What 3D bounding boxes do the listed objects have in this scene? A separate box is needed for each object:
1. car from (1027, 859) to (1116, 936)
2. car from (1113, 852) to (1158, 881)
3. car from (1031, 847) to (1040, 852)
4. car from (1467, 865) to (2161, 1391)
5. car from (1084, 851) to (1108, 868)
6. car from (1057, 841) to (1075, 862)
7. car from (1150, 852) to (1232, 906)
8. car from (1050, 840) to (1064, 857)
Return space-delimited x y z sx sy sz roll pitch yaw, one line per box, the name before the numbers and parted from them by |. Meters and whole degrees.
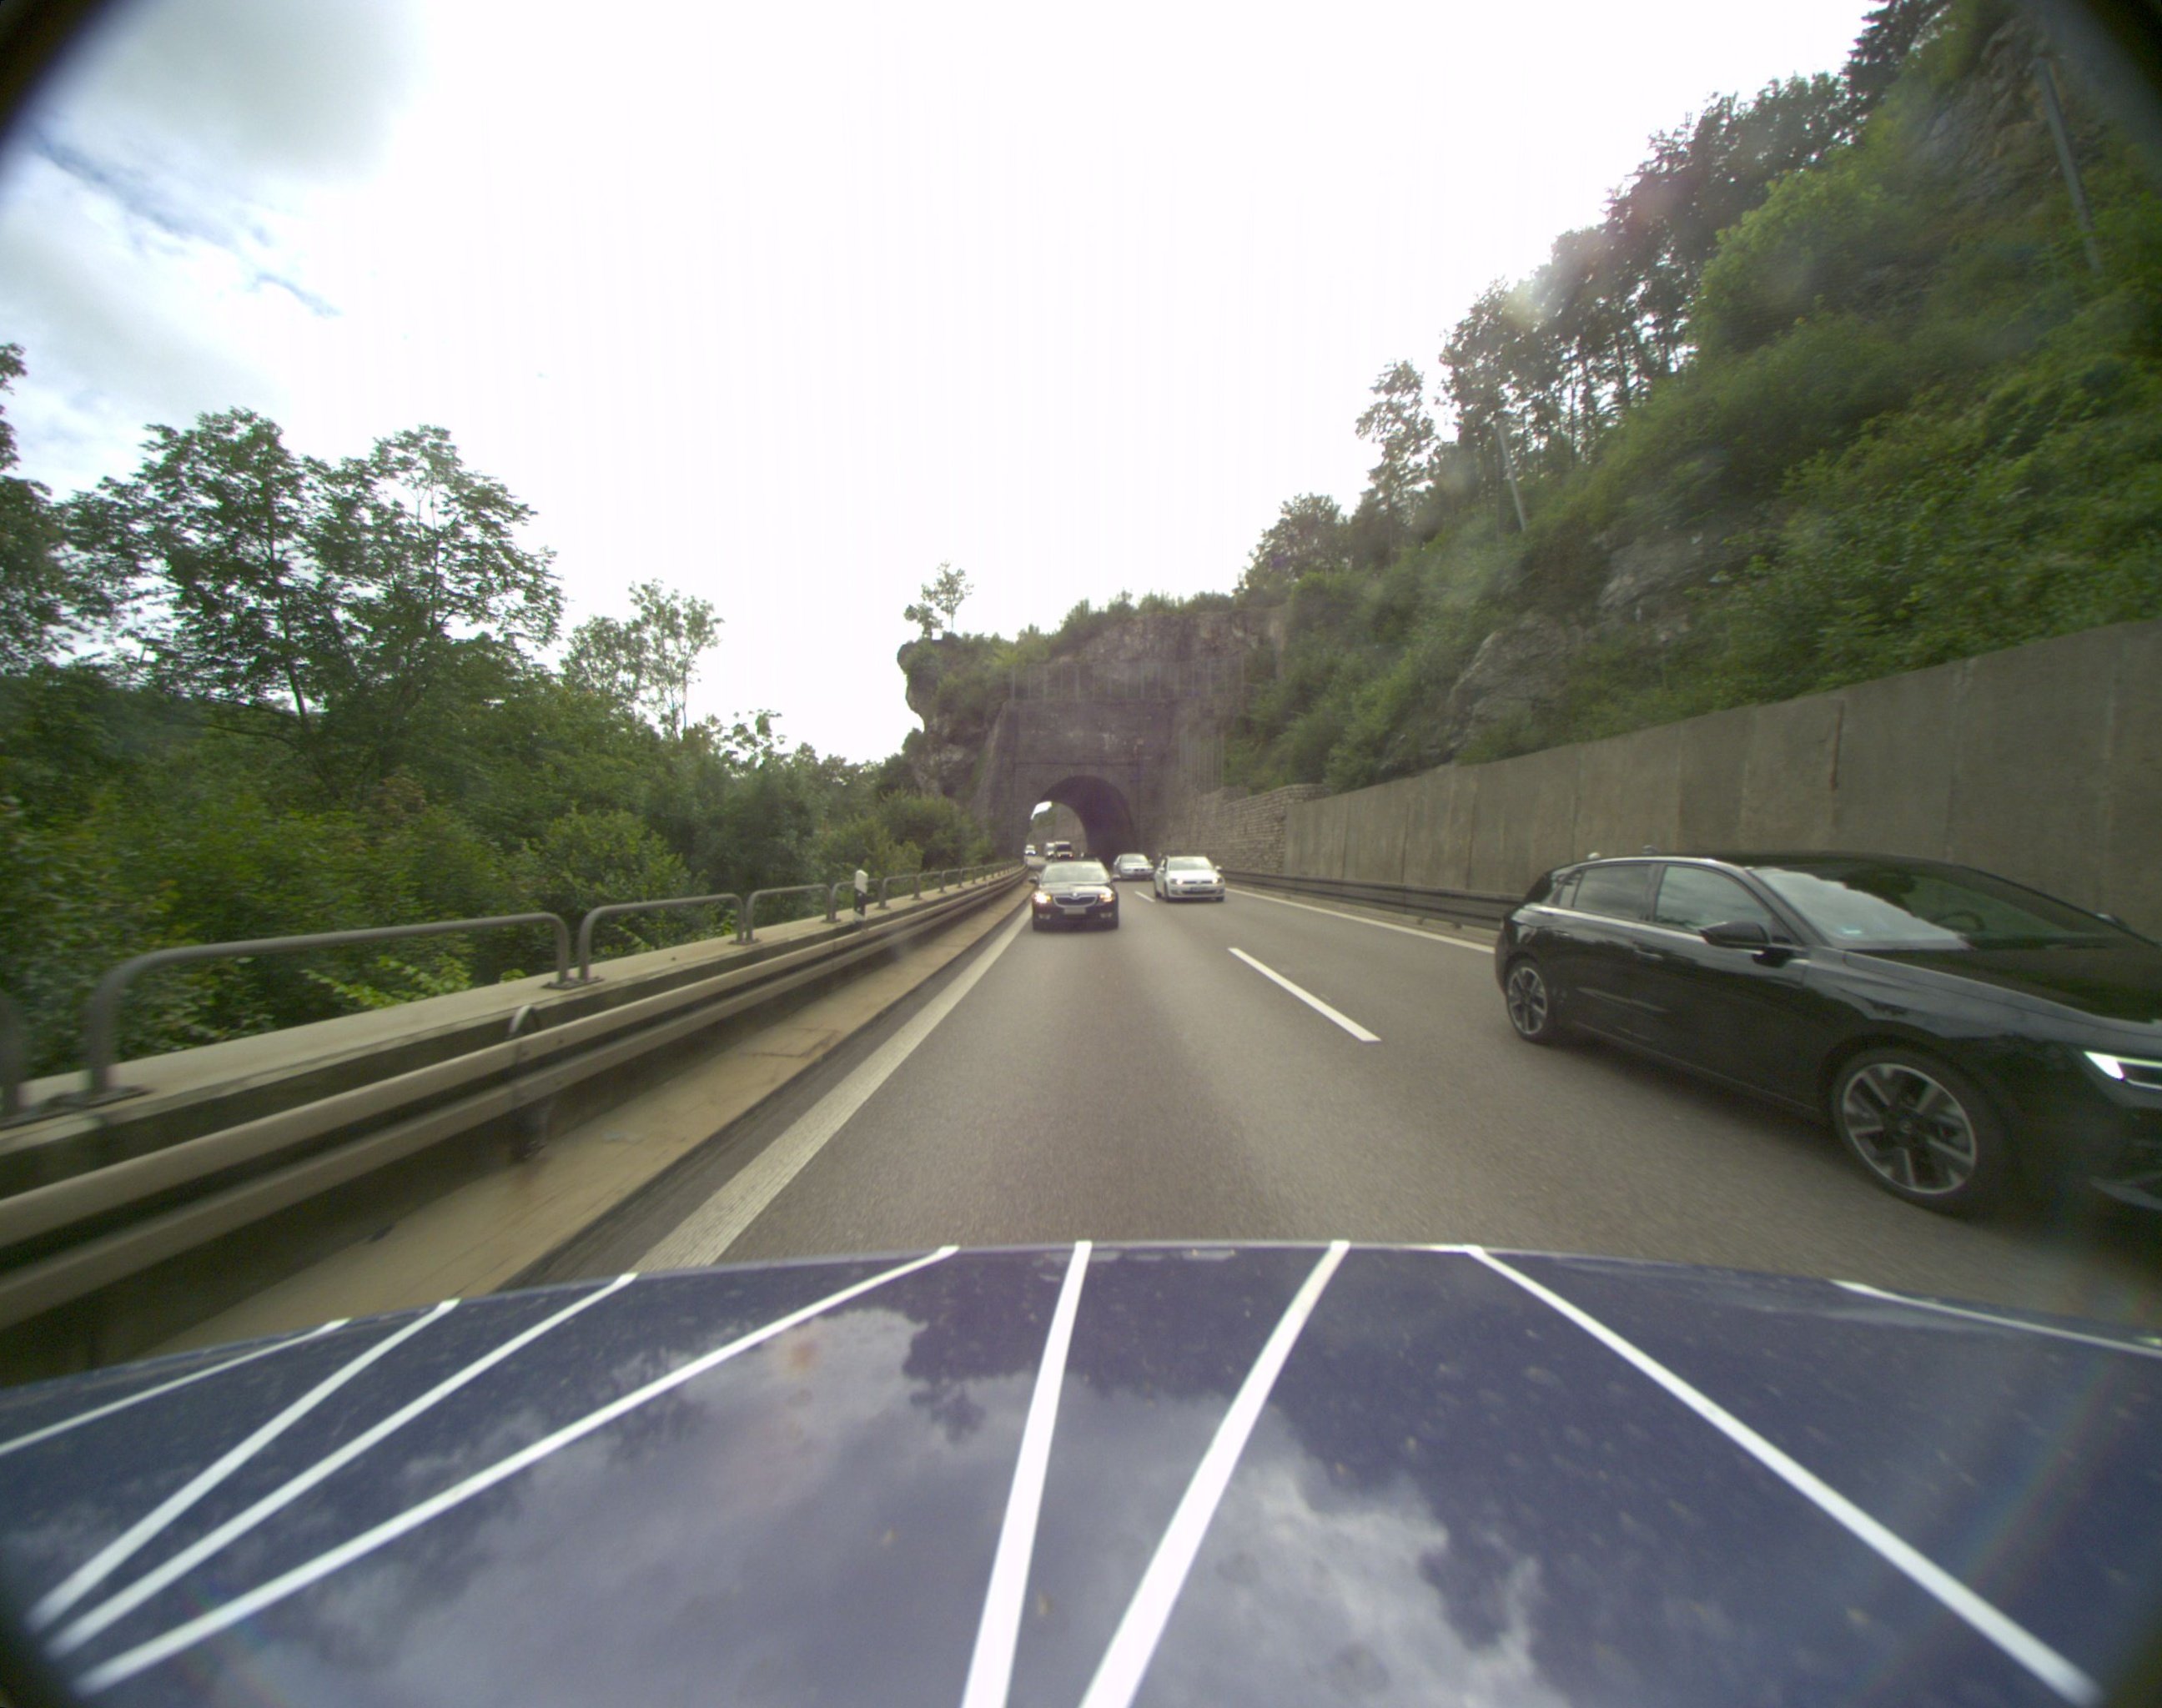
car | -0.168 0.862 16.990 1.677 1.418 4.473 -2 0 0
car | 2.940 0.647 42.080 1.833 1.448 5.134 -2 0 -3
car | -10.558 -1.040 177.045 1.652 1.310 4.065 -1 1 -8
car | 4.165 0.862 4.164 1.778 1.452 4.581 -2 0 1
car | 1.300 0.498 68.282 1.923 1.452 4.230 -2 0 -2
car | -1.898 -0.373 94.328 1.869 2.444 4.980 -3 2 -3
car | 3.435 0.730 24.593 1.850 1.473 4.626 -1 1 -2
car | -3.715 -0.855 116.206 1.869 2.444 4.980 -3 2 -5
